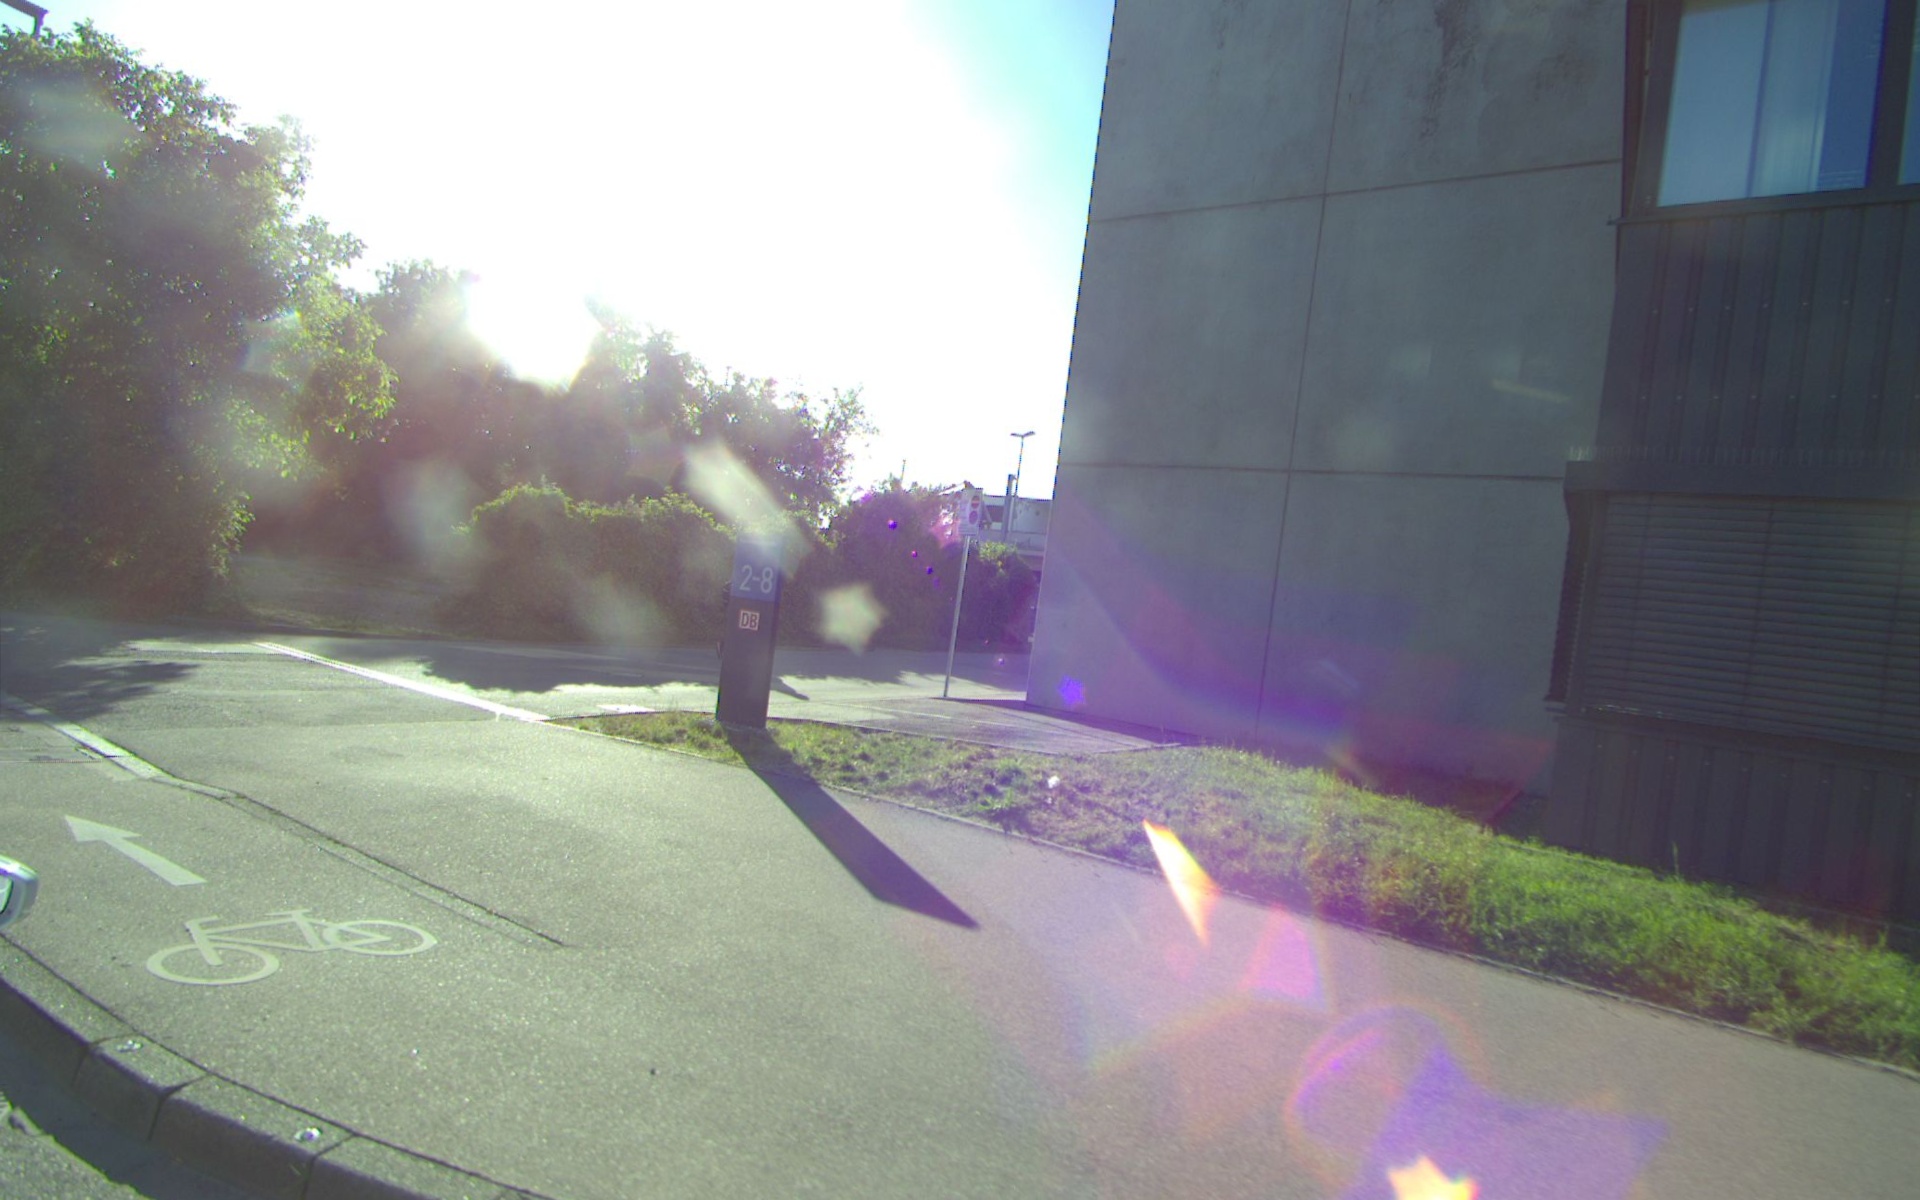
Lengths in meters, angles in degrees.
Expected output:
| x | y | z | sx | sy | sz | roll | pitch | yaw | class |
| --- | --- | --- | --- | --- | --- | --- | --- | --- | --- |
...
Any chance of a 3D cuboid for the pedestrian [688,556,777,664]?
| x | y | z | sx | sy | sz | roll | pitch | yaw | class |
| --- | --- | --- | --- | --- | --- | --- | --- | --- | --- |
| -4.112 | 0.184 | 18.201 | 0.881 | 1.816 | 1.153 | 7 | 3 | 29 | pedestrian |
